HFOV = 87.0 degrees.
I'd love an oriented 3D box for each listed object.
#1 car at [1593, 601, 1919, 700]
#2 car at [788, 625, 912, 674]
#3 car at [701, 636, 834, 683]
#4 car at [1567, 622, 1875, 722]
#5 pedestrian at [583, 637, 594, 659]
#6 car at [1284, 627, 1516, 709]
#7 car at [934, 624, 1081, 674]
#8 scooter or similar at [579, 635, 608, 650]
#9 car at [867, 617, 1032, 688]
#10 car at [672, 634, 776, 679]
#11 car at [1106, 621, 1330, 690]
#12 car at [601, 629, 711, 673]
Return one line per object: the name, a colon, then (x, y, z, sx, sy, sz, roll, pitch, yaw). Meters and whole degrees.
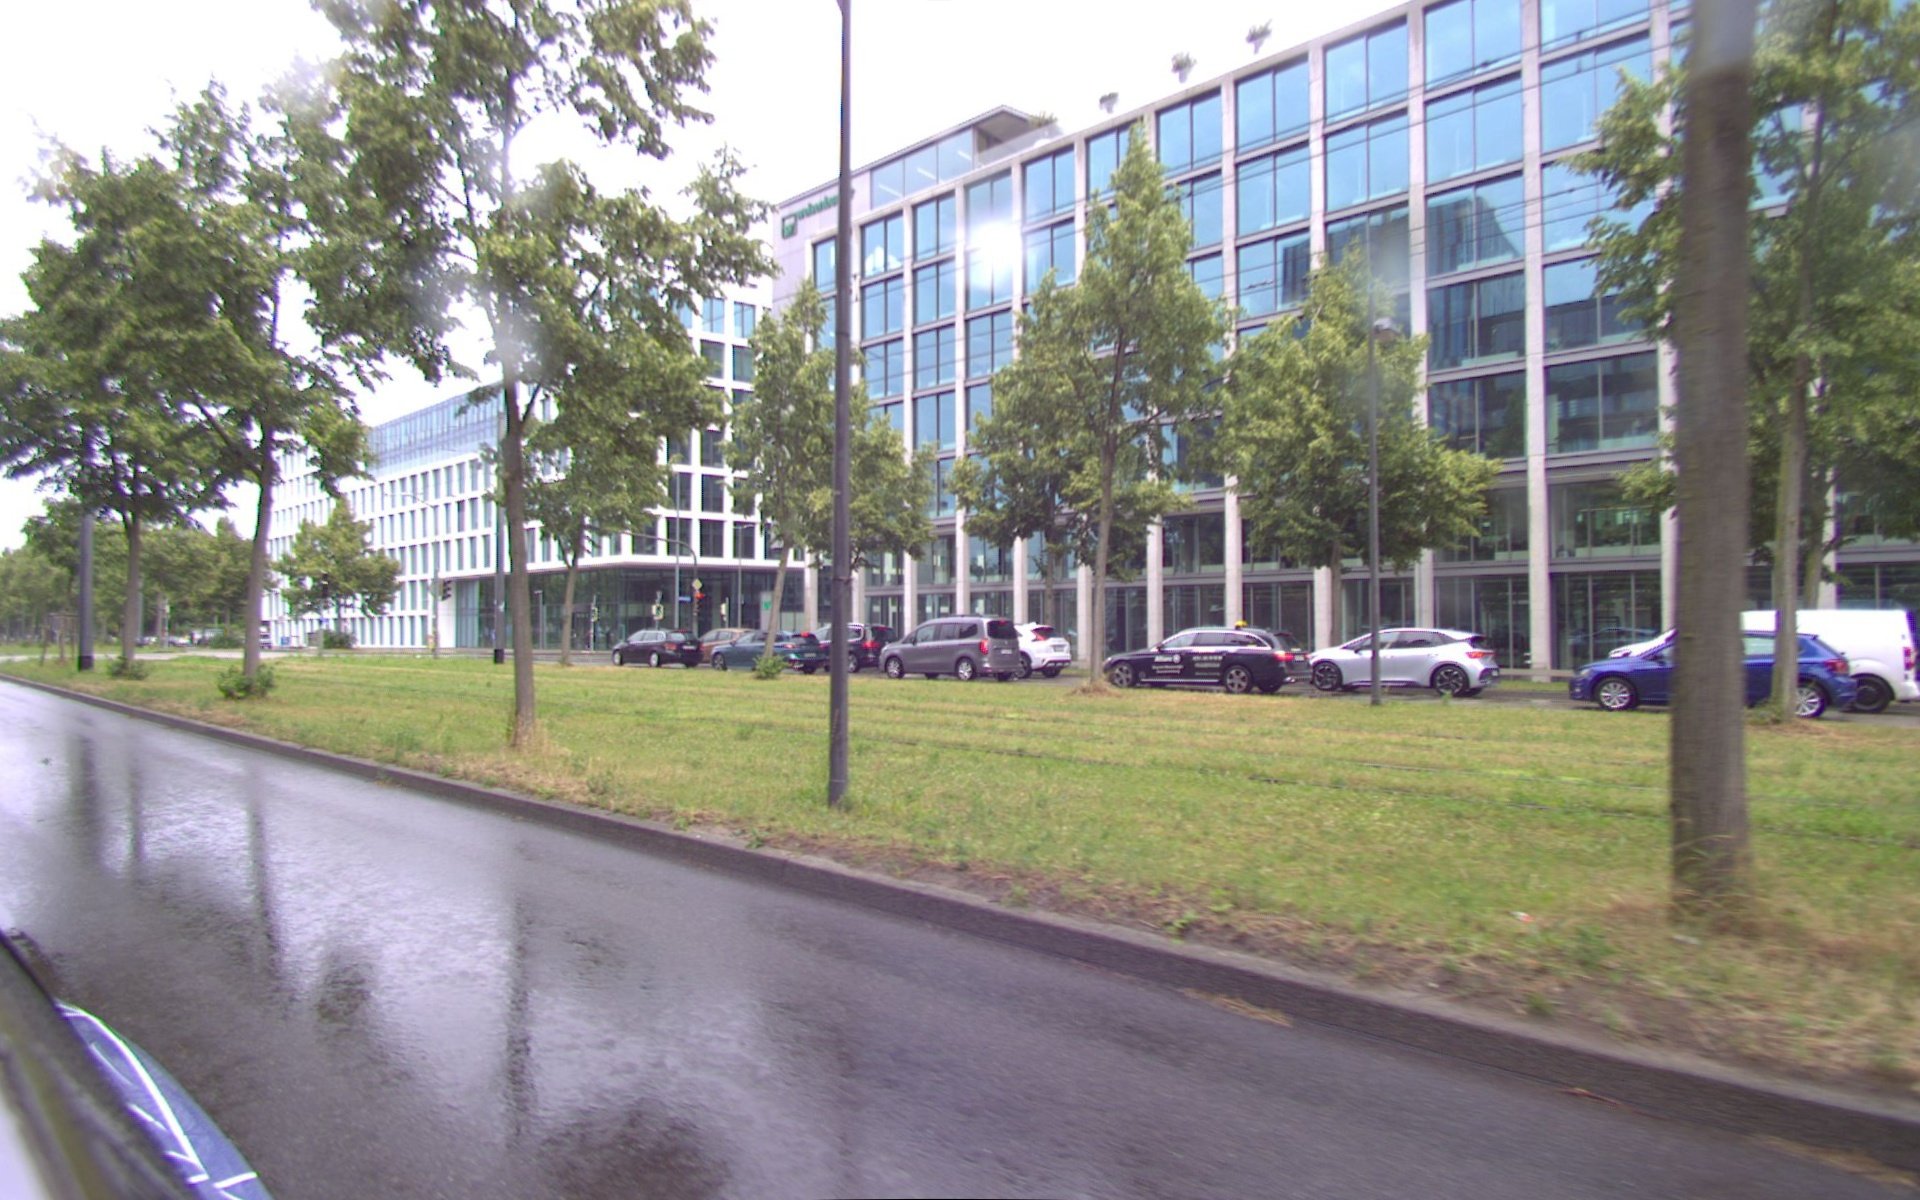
car: (15.320, 1.024, 19.499, 5.024, 1.664, 1.931, -5, -4, 39)
car: (-3.939, 1.784, 35.987, 4.267, 1.552, 1.931, -5, -4, 39)
car: (-6.414, 1.975, 33.440, 4.468, 1.396, 1.931, -5, -5, 39)
car: (12.887, 1.239, 17.366, 3.957, 1.506, 1.931, -5, -4, 39)
pedestrian: (-28.819, 3.713, 78.471, 0.546, 1.656, 0.626, -1, -2, 42)
car: (10.315, 1.628, 23.915, 4.628, 1.759, 1.931, -5, -4, 39)
car: (1.432, 1.548, 31.567, 4.267, 1.396, 1.931, -5, -4, 39)
scooter or similar: (-28.472, 3.291, 78.713, 0.550, 1.161, 2.134, -5, -4, 39)
car: (-0.373, 1.511, 28.809, 4.540, 1.863, 1.931, -3, -4, 40)
car: (-9.550, 2.243, 40.840, 4.268, 1.707, 1.931, -2, -2, 39)
car: (5.888, 1.316, 23.412, 4.600, 1.396, 1.931, -5, -4, 40)
car: (-11.634, 1.969, 38.645, 4.460, 1.571, 1.931, -4, -4, 40)
